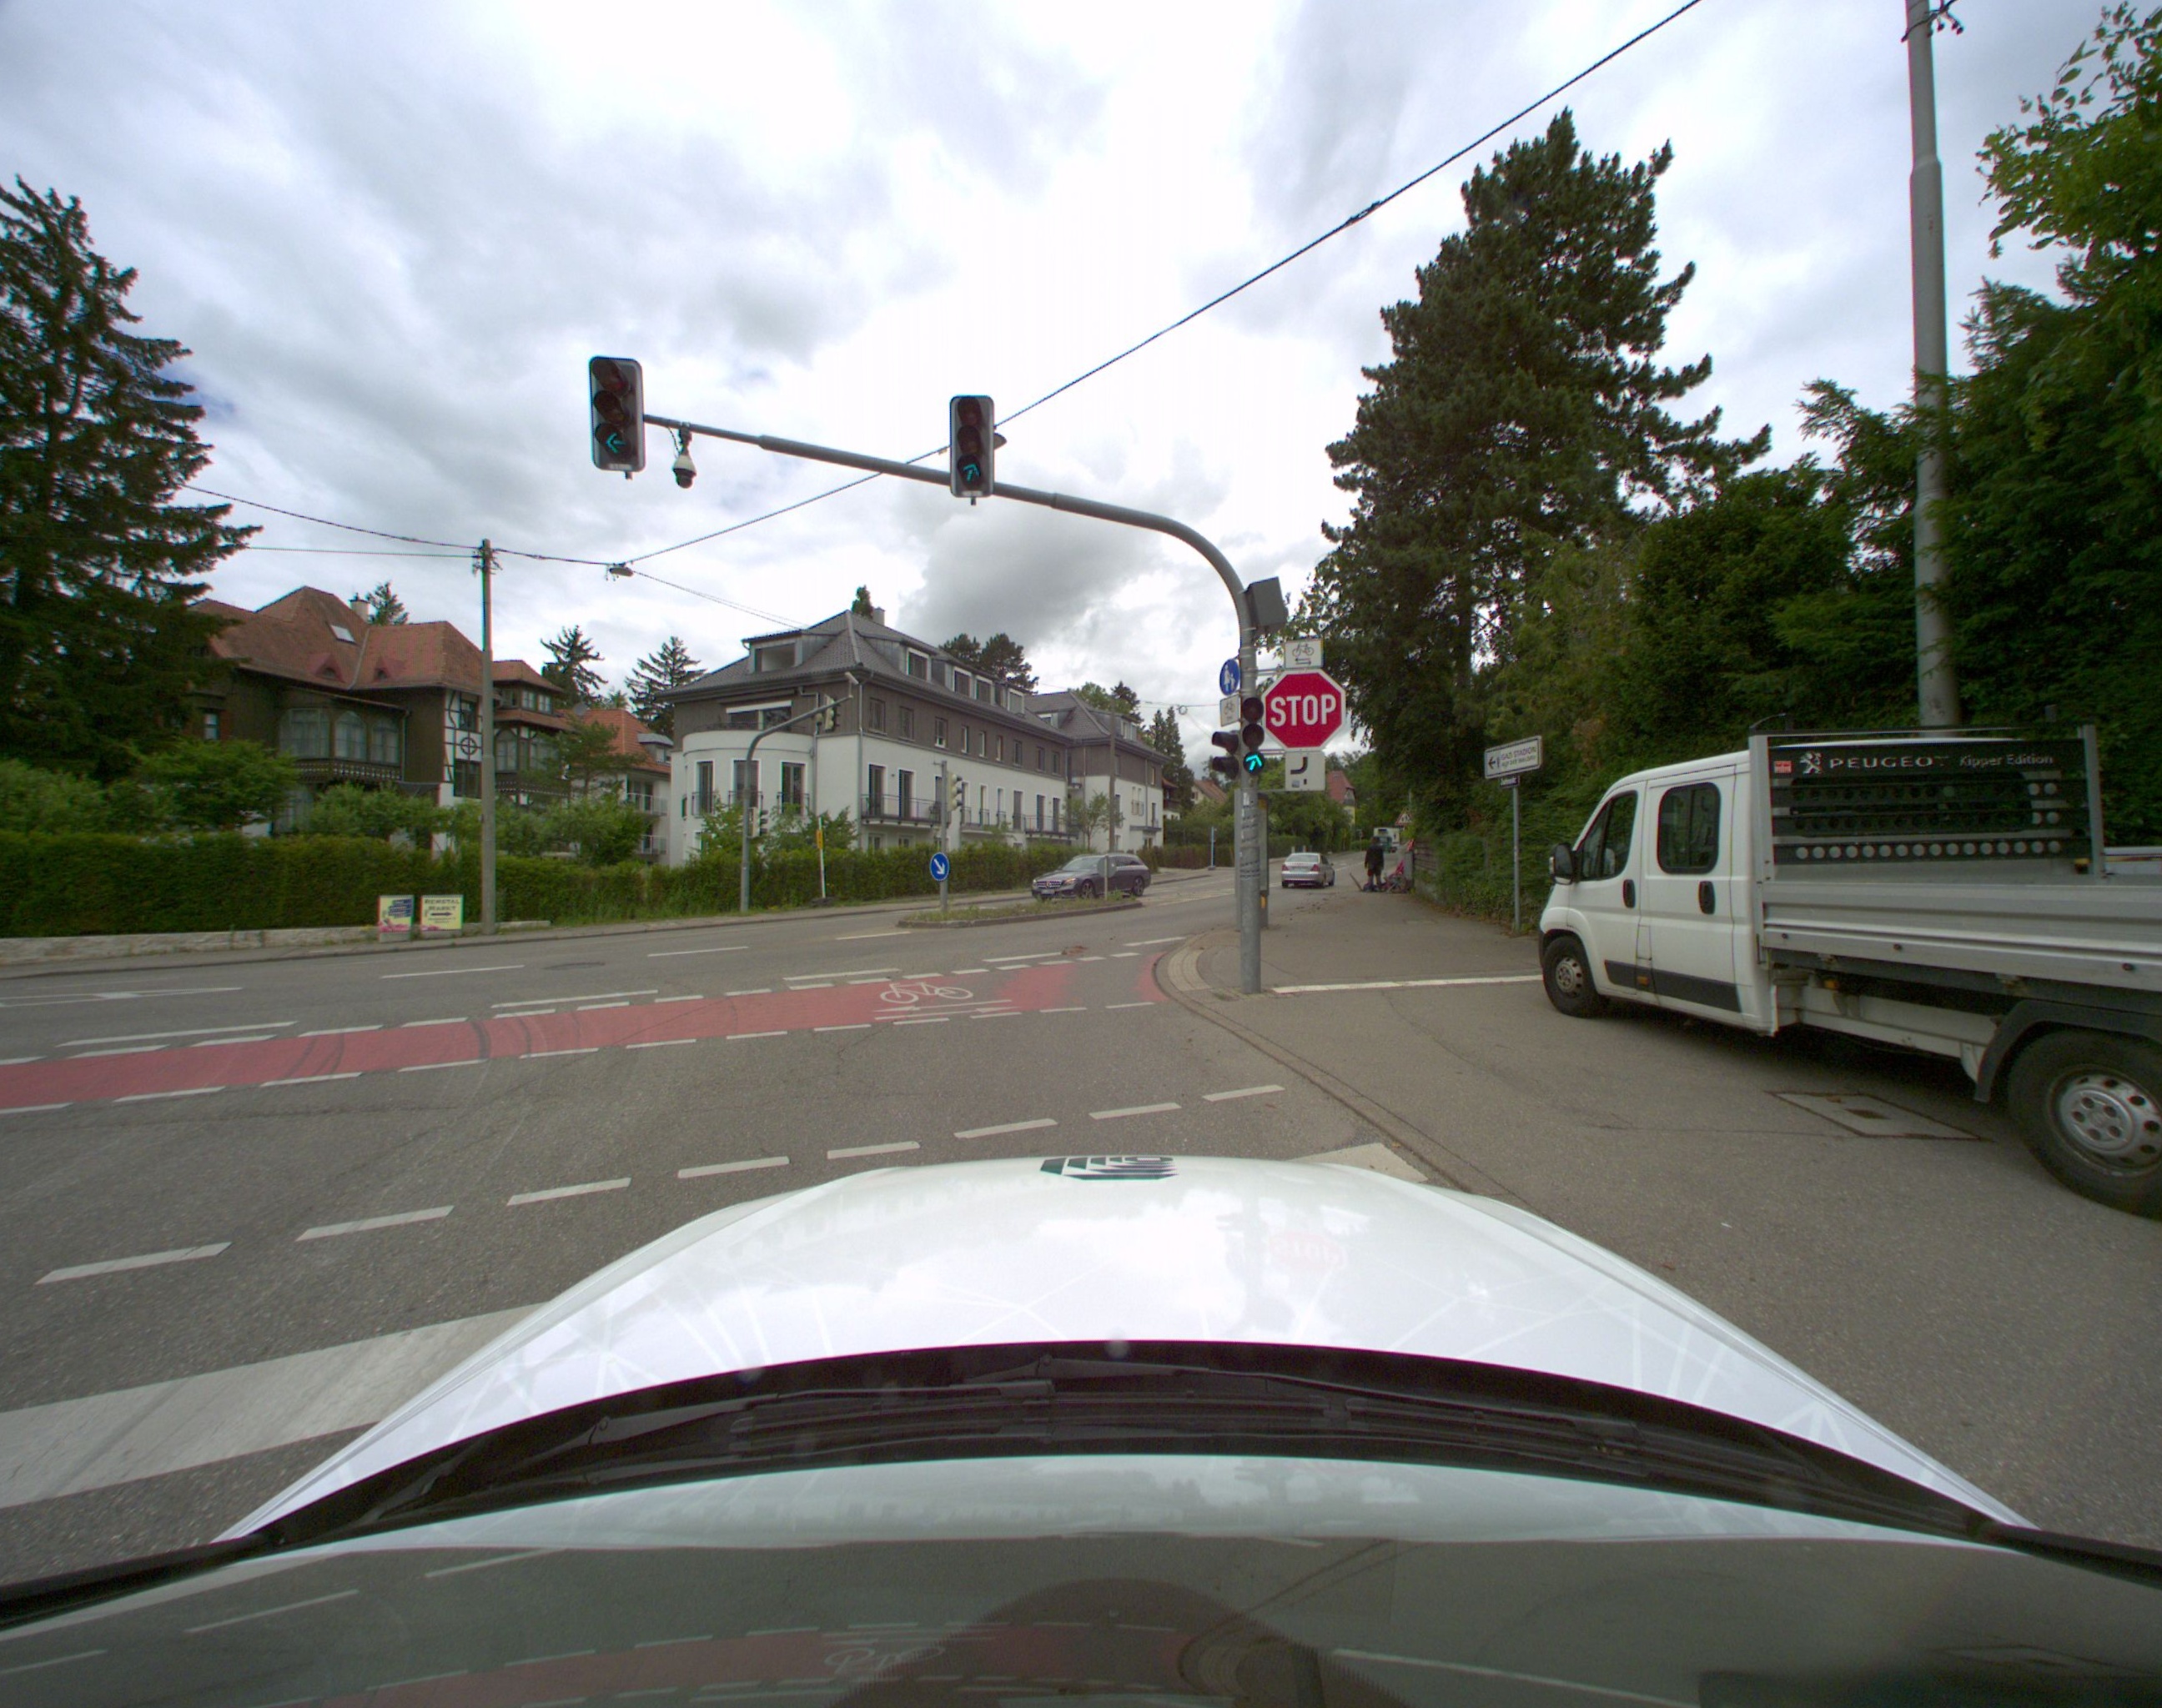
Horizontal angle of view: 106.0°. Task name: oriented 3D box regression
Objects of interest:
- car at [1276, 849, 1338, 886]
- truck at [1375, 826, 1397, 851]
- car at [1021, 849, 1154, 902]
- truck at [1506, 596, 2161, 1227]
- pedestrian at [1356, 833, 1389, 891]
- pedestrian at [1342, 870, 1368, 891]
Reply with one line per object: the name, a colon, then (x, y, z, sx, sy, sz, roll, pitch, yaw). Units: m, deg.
car: (9.453, 0.547, 33.862, 1.781, 1.415, 4.360, -1, -1, 25)
truck: (44.066, -2.166, 117.575, 2.754, 3.461, 7.532, -1, -1, 21)
car: (0.309, 0.648, 26.307, 1.807, 1.485, 4.778, -2, 0, 36)
truck: (5.365, 0.224, 5.208, 2.386, 2.351, 6.195, 0, -1, 4)
pedestrian: (9.760, 0.254, 27.257, 0.842, 1.923, 0.802, -1, 0, 4)
pedestrian: (9.534, 0.927, 28.335, 0.646, 0.696, 0.581, -1, 0, -18)
